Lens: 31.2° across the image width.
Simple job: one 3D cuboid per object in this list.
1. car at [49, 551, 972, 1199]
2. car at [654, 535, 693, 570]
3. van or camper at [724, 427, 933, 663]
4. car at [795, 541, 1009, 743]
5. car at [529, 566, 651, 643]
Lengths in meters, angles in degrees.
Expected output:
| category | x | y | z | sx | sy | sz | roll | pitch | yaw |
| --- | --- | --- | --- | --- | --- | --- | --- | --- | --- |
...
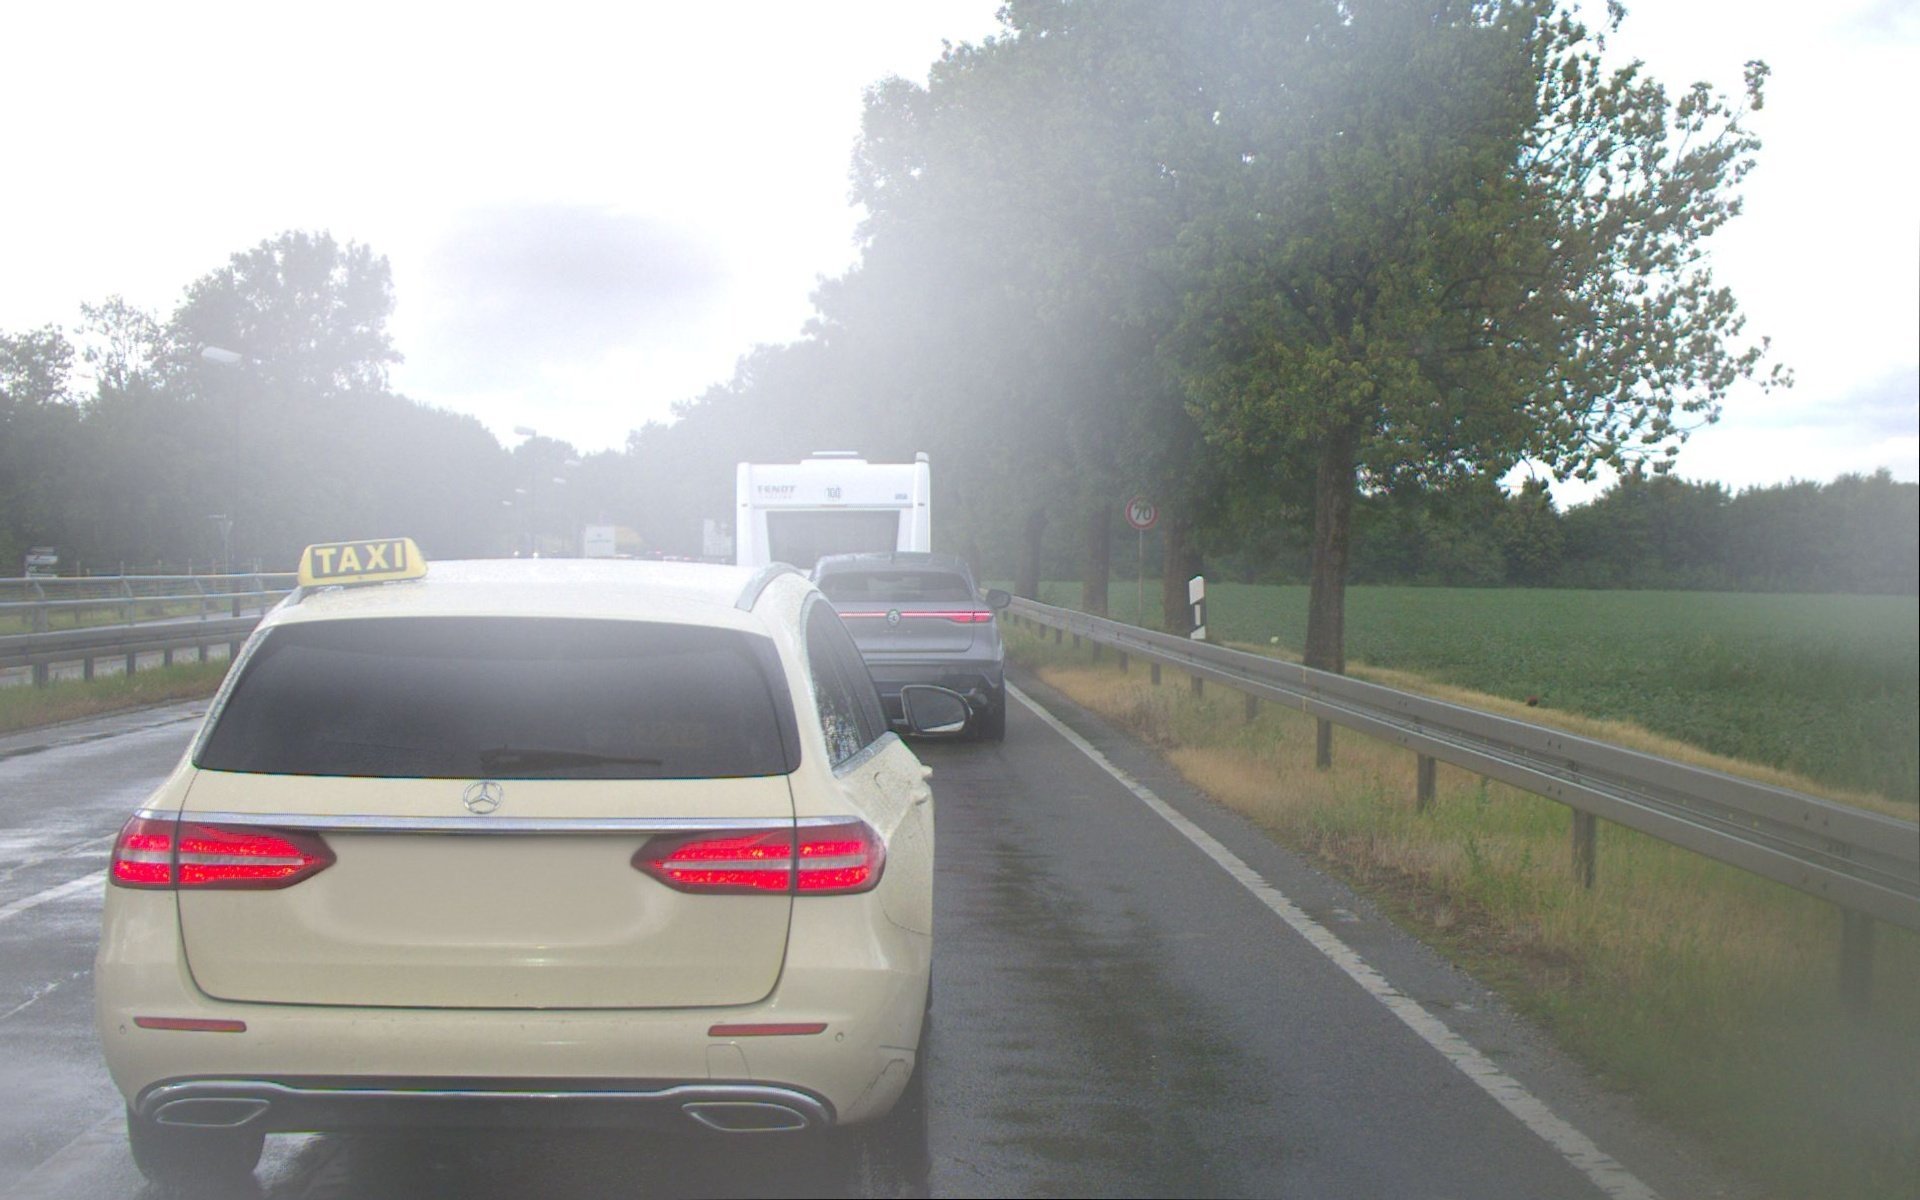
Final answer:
| category | x | y | z | sx | sy | sz | roll | pitch | yaw |
| --- | --- | --- | --- | --- | --- | --- | --- | --- | --- |
| car | -0.888 | 0.616 | 8.915 | 1.825 | 1.480 | 4.145 | 0 | 1 | 0 |
| car | -17.378 | -2.891 | 208.940 | 1.993 | 2.044 | 4.000 | 1 | 1 | 0 |
| van or camper | -1.546 | -0.693 | 42.210 | 2.350 | 2.671 | 5.769 | 1 | 1 | -1 |
| car | -0.471 | 0.290 | 28.281 | 1.627 | 1.524 | 3.933 | 1 | 1 | -1 |
| car | -6.458 | 0.060 | 60.343 | 1.758 | 1.265 | 4.000 | 1 | 1 | -1 |
